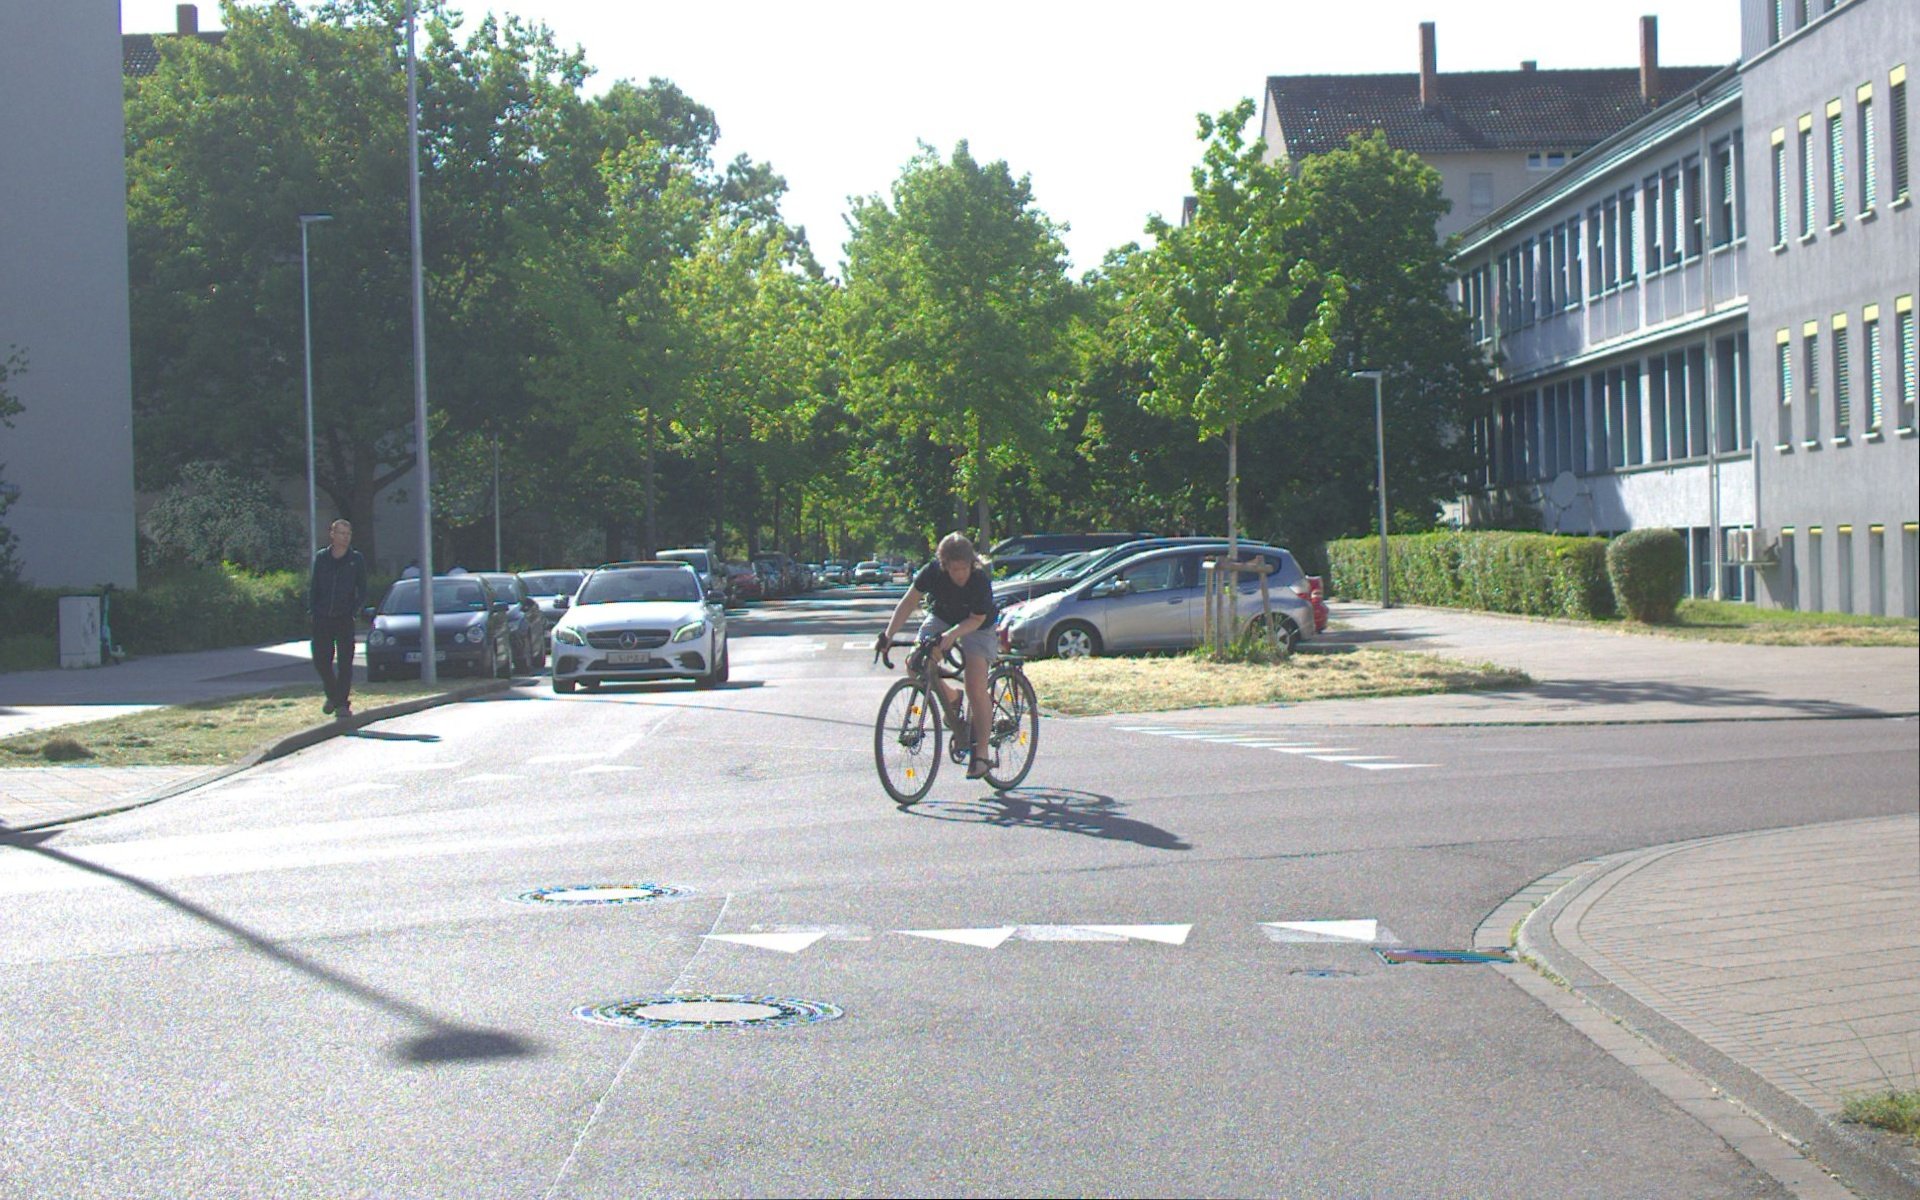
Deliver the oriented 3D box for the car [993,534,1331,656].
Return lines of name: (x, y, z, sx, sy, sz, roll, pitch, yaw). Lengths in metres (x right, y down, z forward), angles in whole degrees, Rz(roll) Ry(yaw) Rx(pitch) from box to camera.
car: (2.532, -0.065, 43.671, 4.088, 1.487, 1.729, -1, 0, -4)

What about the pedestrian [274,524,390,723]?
pedestrian: (-5.540, 0.196, 30.364, 0.870, 1.708, 0.979, -1, 1, -4)

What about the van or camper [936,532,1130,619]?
van or camper: (1.507, -0.510, 72.275, 3.987, 1.766, 2.000, -1, 0, -1)

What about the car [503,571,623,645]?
car: (-6.930, 0.125, 60.324, 1.629, 1.230, 4.193, 1, 0, -1)

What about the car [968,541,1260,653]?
car: (2.275, -0.049, 51.725, 4.203, 1.590, 2.000, 1, 0, -2)

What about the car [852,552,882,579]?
car: (-6.399, -2.376, 236.859, 1.993, 1.741, 4.000, -1, 1, -1)

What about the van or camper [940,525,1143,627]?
van or camper: (1.617, -0.482, 69.478, 3.987, 2.007, 2.000, -1, 0, -1)

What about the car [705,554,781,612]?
car: (-7.759, -0.611, 123.417, 1.994, 2.007, 3.999, 1, 0, 7)

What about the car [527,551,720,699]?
car: (-3.827, 0.240, 39.822, 1.885, 1.499, 4.639, -2, 2, -2)

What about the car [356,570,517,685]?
car: (-6.803, 0.342, 44.986, 1.667, 1.415, 4.000, 1, 0, -3)

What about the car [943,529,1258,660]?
car: (1.957, -0.077, 48.902, 4.278, 1.758, 2.000, 1, 0, -3)

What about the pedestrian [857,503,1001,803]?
pedestrian: (-0.163, 0.288, 19.329, 0.690, 1.634, 1.046, 1, 0, 5)

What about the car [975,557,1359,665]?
car: (2.720, 0.138, 45.712, 4.869, 1.270, 1.729, -2, 0, -5)

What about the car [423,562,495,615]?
car: (-12.193, -0.285, 83.724, 1.274, 1.221, 2.663, -1, 1, 1)

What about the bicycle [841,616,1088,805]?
bicycle: (0.053, 0.608, 19.622, 0.549, 1.008, 1.916, -1, 0, 29)
